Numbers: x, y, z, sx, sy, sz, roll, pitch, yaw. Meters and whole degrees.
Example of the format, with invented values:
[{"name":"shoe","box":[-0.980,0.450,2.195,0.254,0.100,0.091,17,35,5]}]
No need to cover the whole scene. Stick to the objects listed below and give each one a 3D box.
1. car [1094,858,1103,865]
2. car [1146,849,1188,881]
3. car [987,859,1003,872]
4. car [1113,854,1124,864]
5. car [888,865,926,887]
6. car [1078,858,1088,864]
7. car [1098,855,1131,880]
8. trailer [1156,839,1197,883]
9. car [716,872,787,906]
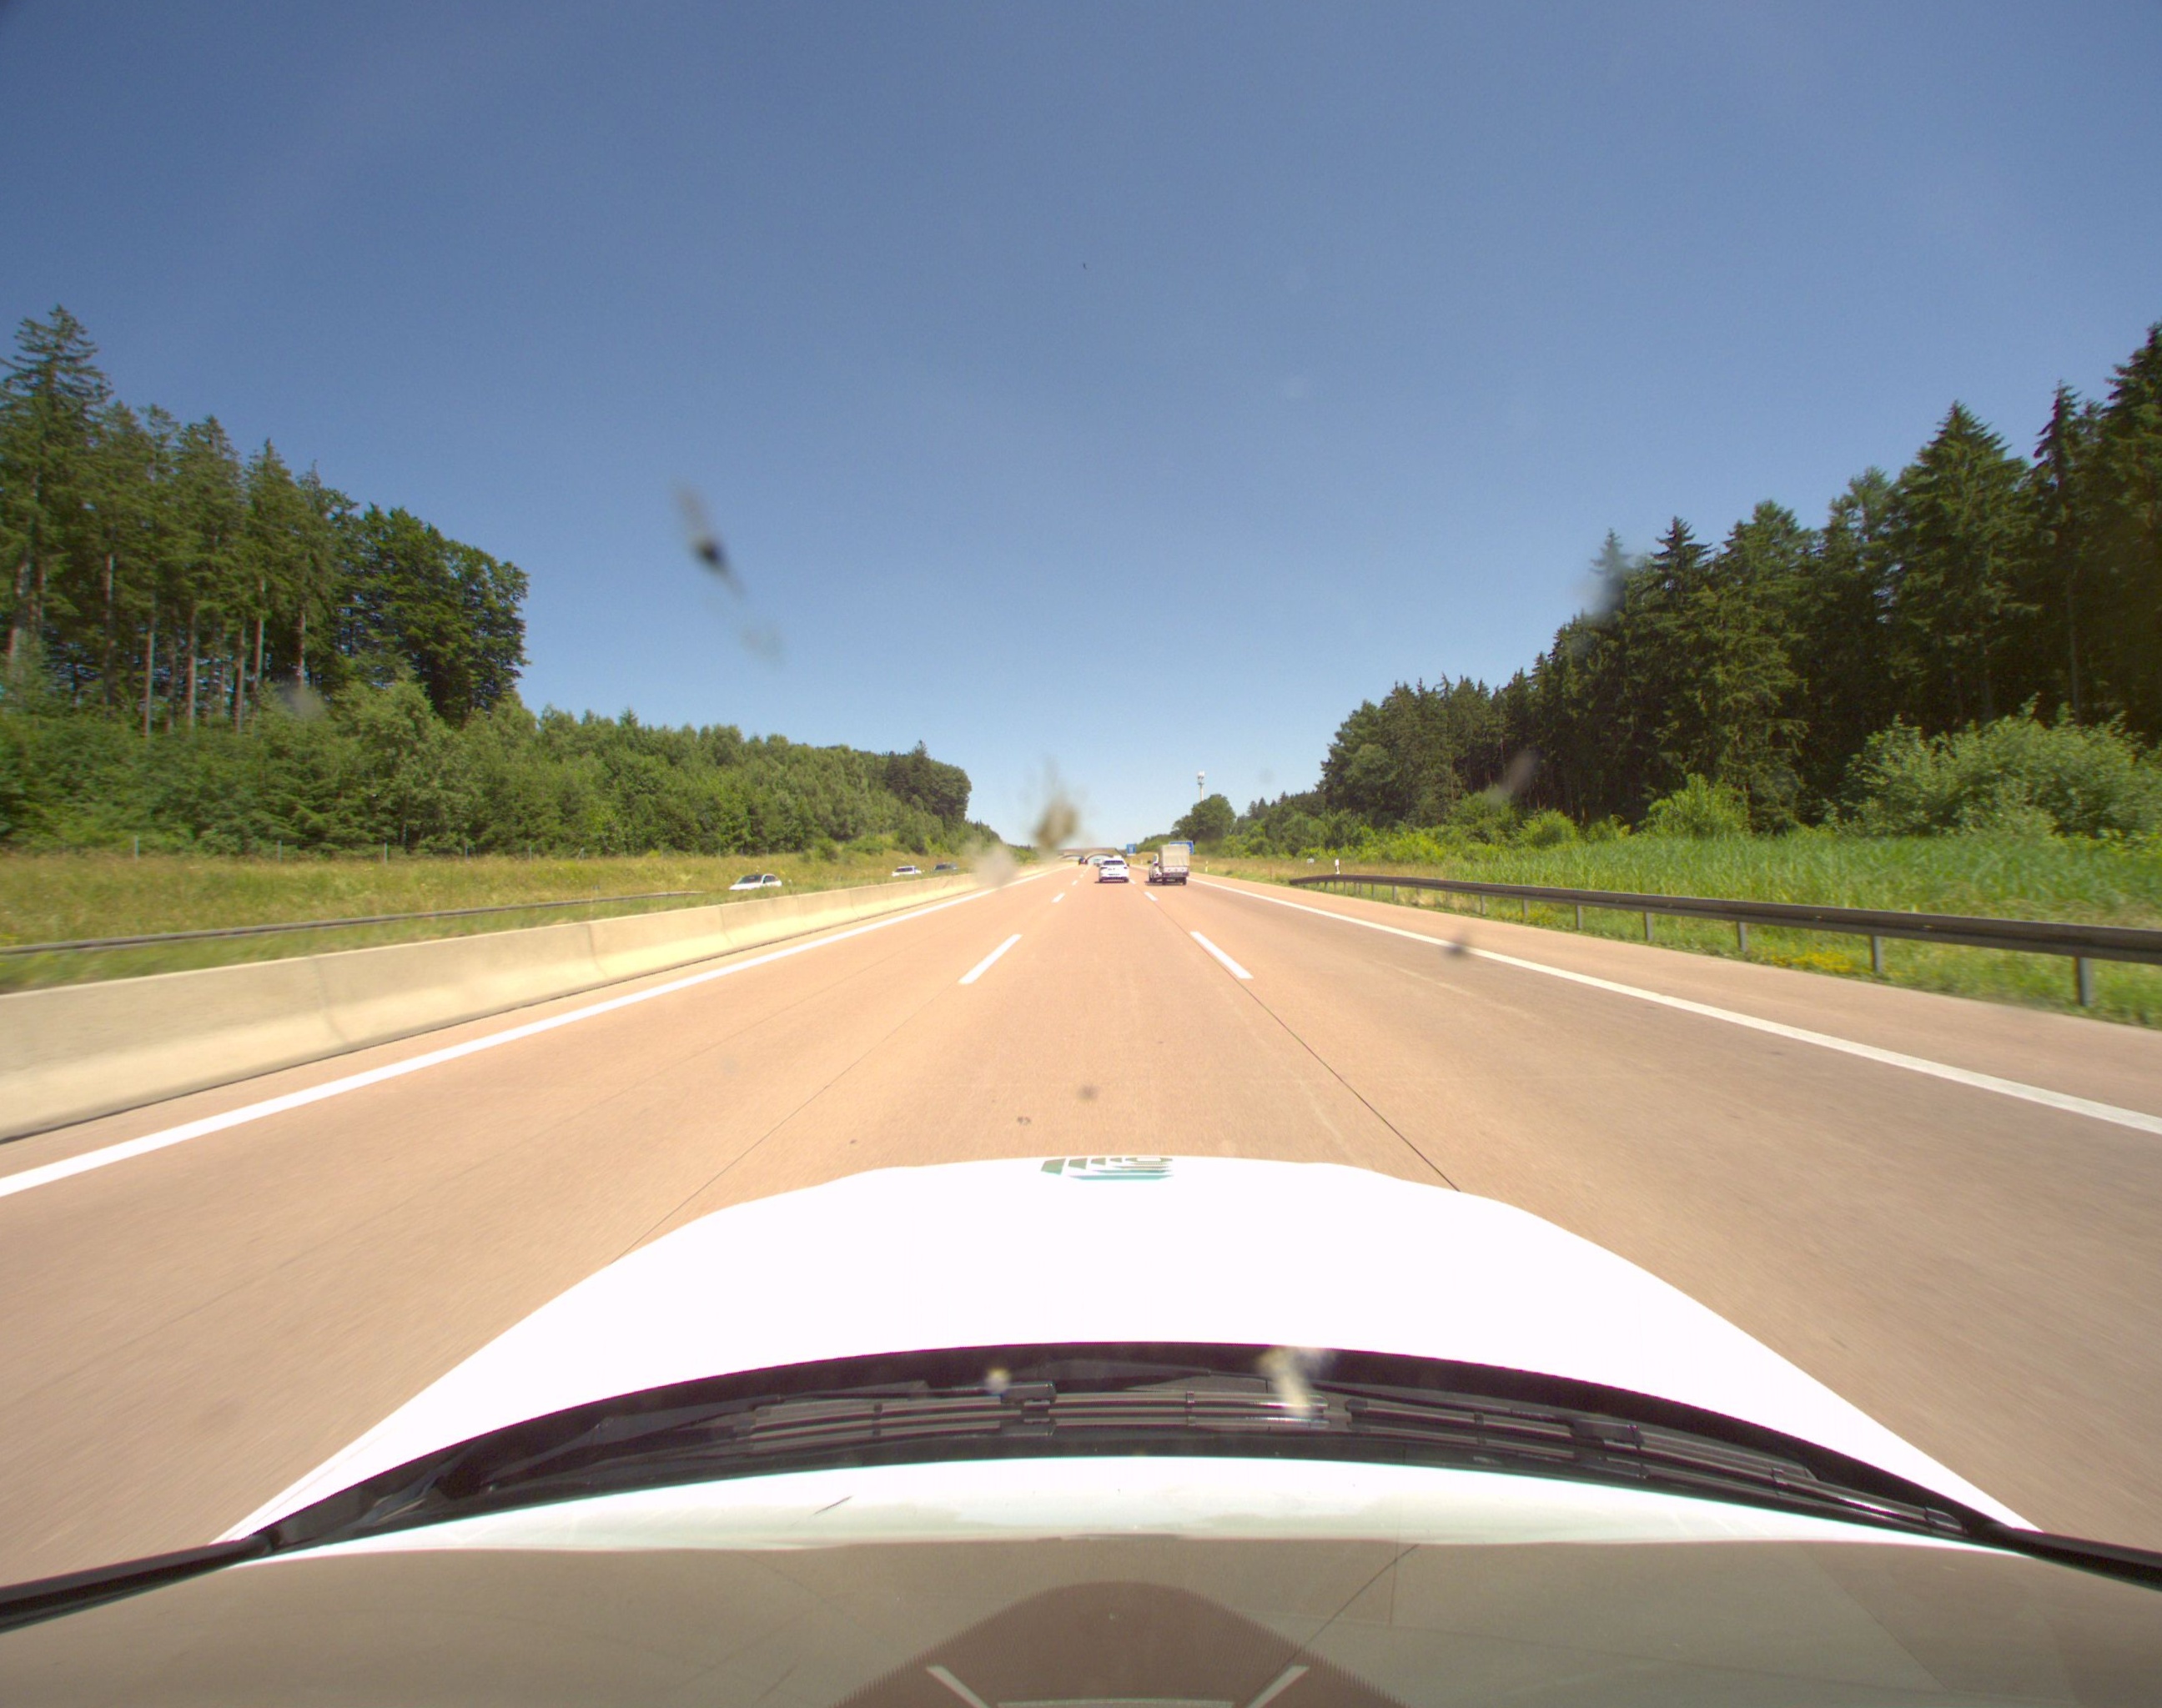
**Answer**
[{"name":"car","box":[3.753,1.650,176.837,1.884,1.463,4.001,-1,0,2]},{"name":"car","box":[4.949,0.599,47.485,1.885,1.728,5.185,-1,0,0]},{"name":"car","box":[-12.882,1.715,122.245,1.885,1.738,4.463,-1,0,0]},{"name":"car","box":[7.759,1.058,168.603,2.101,2.054,4.003,-1,0,3]},{"name":"car","box":[-13.607,1.674,63.916,1.884,1.594,4.465,-1,0,2]},{"name":"car","box":[0.454,1.583,186.810,1.883,1.463,4.003,-1,0,3]},{"name":"car","box":[1.937,0.791,48.459,1.884,1.398,4.000,0,0,1]},{"name":"trailer","box":[4.980,0.384,42.927,1.652,2.164,4.015,-1,-1,0]},{"name":"car","box":[-17.643,1.852,43.850,1.884,1.594,4.465,-1,0,2]}]
